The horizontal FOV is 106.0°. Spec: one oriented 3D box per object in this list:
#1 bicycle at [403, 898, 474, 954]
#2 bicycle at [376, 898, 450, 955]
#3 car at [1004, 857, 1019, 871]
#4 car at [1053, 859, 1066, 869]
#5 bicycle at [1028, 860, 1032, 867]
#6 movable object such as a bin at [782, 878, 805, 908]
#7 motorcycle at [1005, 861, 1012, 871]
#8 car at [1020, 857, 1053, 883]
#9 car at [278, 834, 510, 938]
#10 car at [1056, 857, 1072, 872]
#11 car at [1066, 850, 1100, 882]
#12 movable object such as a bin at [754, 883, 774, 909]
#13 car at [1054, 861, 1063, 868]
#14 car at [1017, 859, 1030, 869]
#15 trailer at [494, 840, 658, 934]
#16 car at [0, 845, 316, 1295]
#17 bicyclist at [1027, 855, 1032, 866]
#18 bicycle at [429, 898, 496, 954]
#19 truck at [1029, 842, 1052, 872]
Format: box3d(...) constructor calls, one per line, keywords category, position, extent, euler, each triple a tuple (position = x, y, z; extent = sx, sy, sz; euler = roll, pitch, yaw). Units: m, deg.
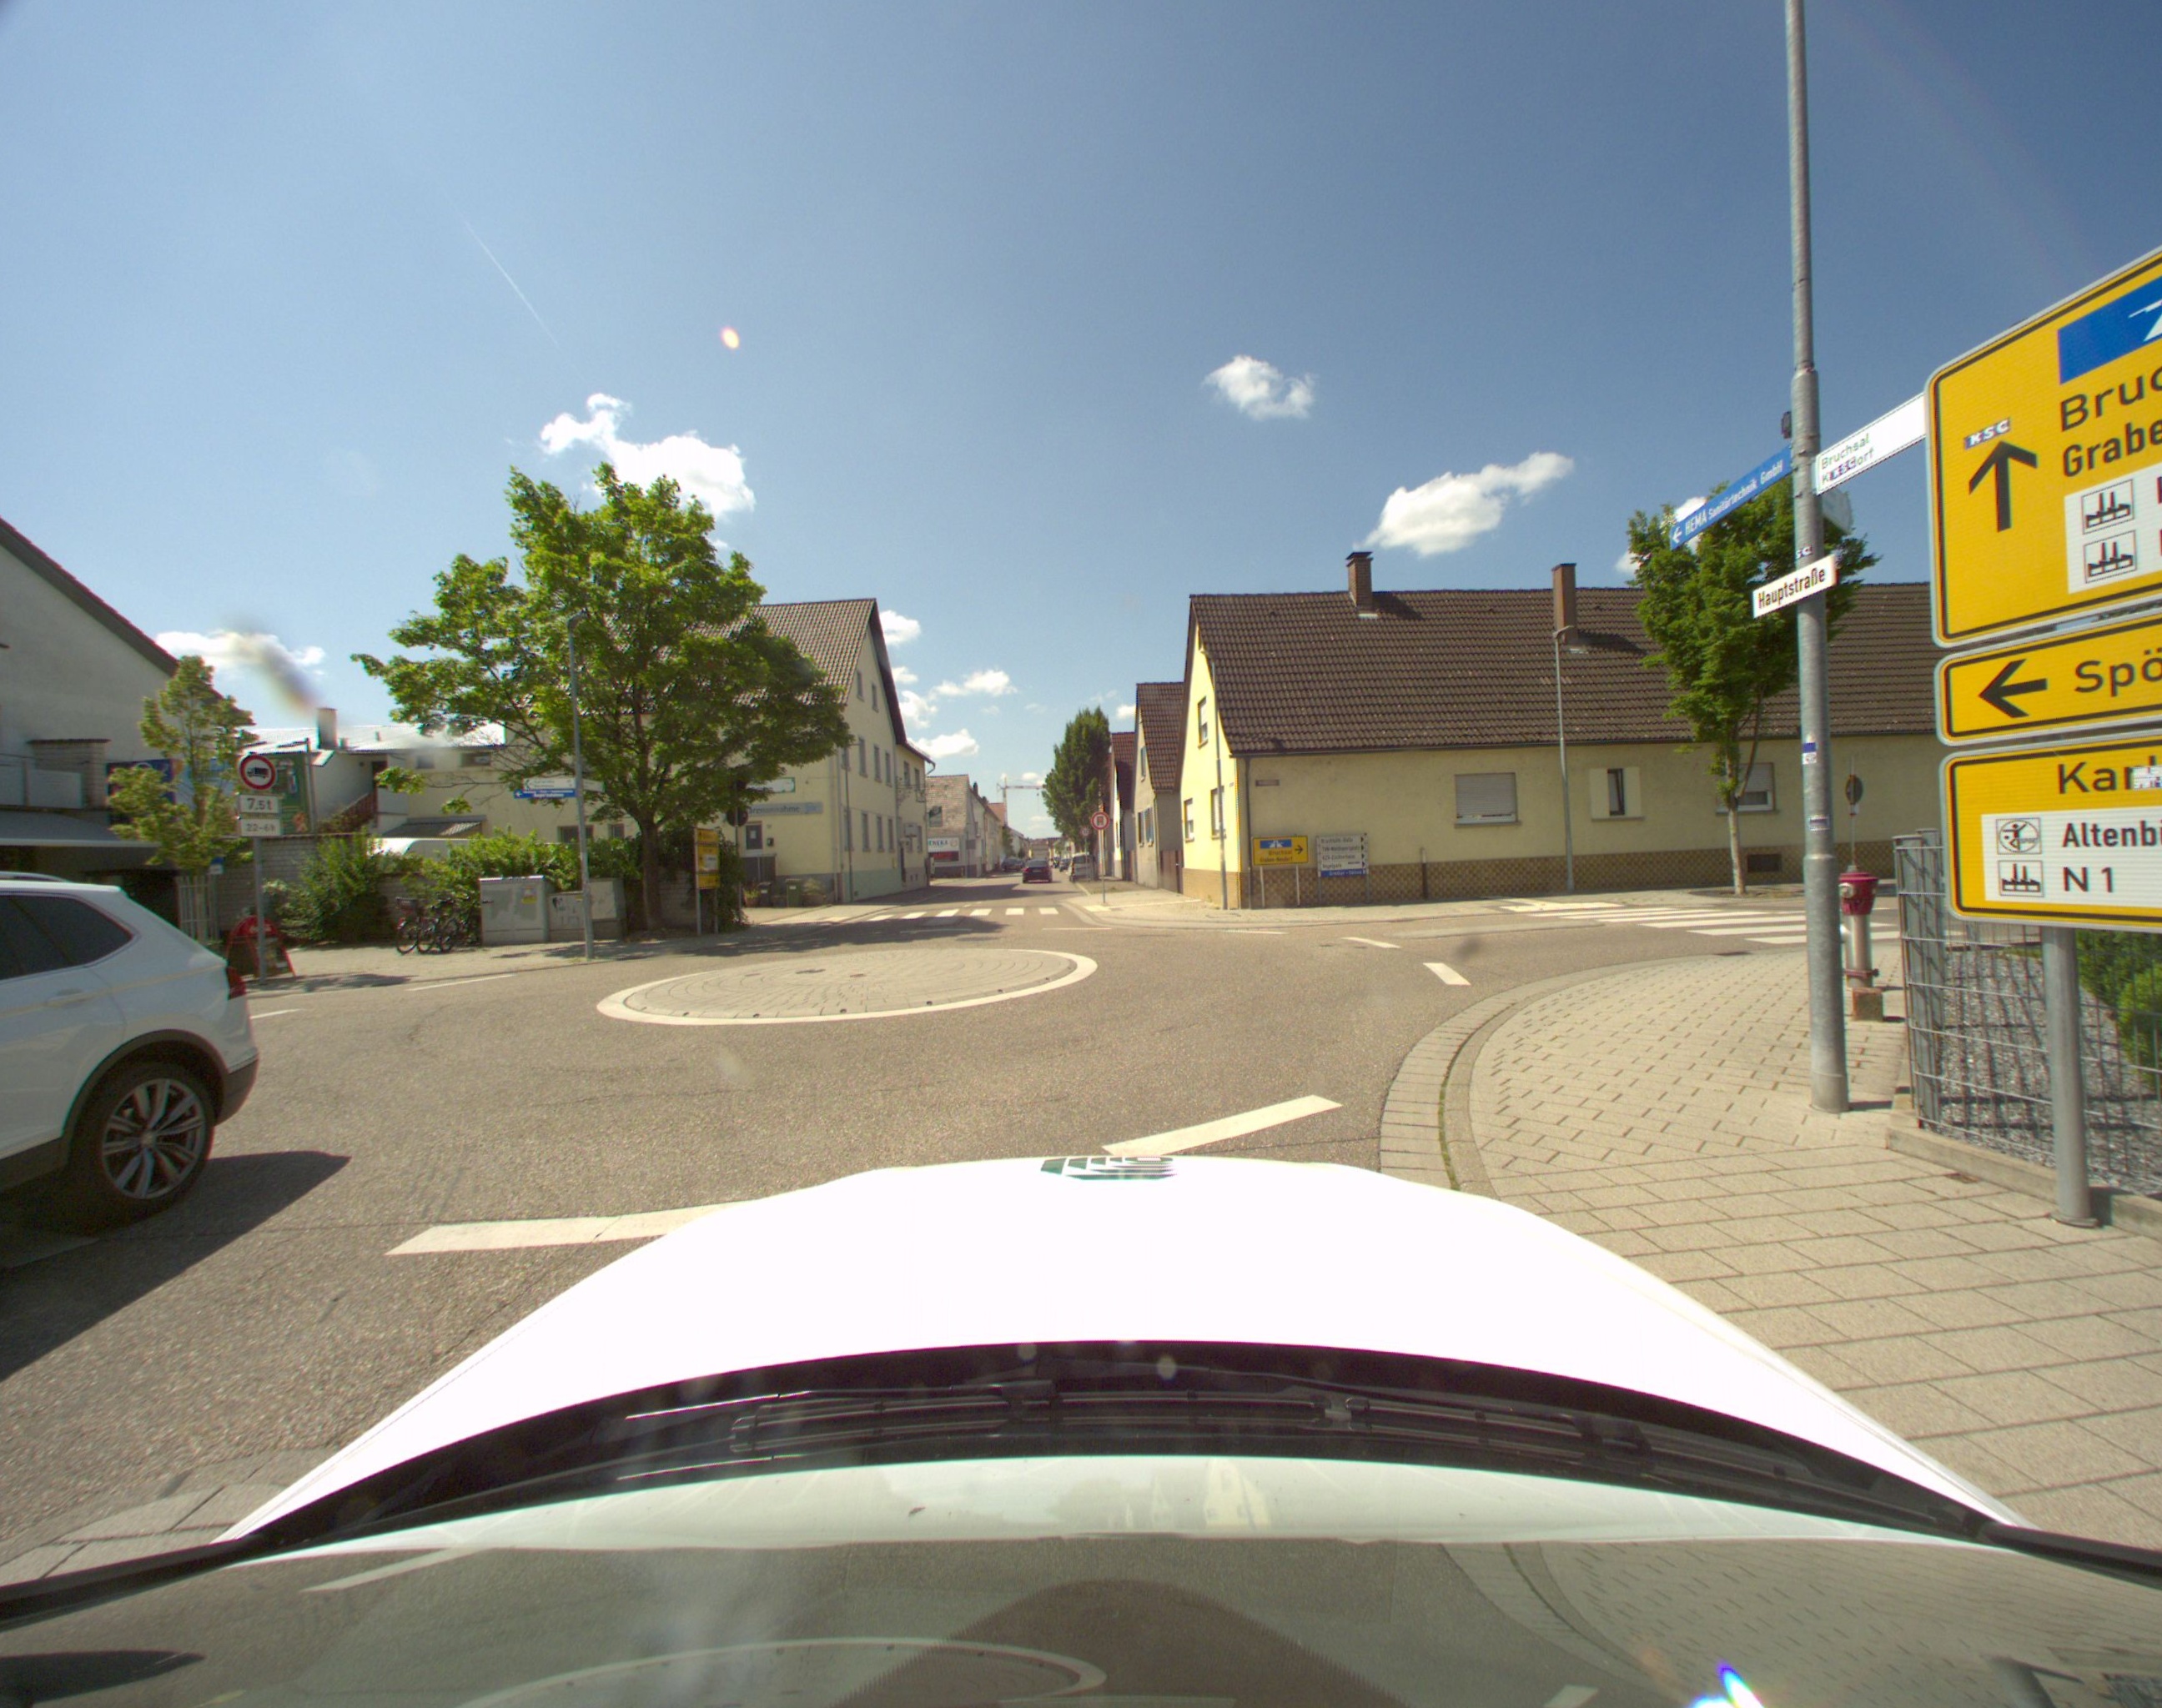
box3d(category="bicycle", position=(-14.013, 1.543, 17.810), extent=(0.400, 1.003, 1.973), euler=(-2, 2, -14))
box3d(category="bicycle", position=(-14.444, 1.547, 17.671), extent=(0.400, 1.003, 1.973), euler=(-2, 2, -14))
box3d(category="car", position=(-8.684, 1.255, 102.048), extent=(1.805, 1.589, 3.995), euler=(-2, 0, -3))
box3d(category="car", position=(-3.102, 1.373, 116.321), extent=(1.715, 1.355, 4.153), euler=(-2, 0, -2))
box3d(category="bicycle", position=(-9.837, 1.883, 156.013), extent=(0.749, 1.308, 2.682), euler=(-1, -1, -3))
box3d(category="movable object such as a bin", position=(-10.801, 1.449, 30.610), extent=(0.598, 1.078, 0.658), euler=(-3, 0, 0))
box3d(category="motorcycle", position=(-8.718, 1.426, 98.138), extent=(0.844, 1.170, 2.466), euler=(-1, -1, -4))
box3d(category="car", position=(-2.825, 0.985, 52.514), extent=(1.897, 1.563, 4.474), euler=(-2, 0, -1))
box3d(category="car", position=(-19.166, 0.799, 23.210), extent=(1.932, 2.567, 5.643), euler=(-1, 0, -2))
box3d(category="car", position=(-1.806, 1.110, 87.908), extent=(1.714, 1.461, 4.155), euler=(-2, 0, -1))
box3d(category="car", position=(0.074, 0.733, 51.378), extent=(1.716, 1.790, 4.137), euler=(-4, 0, -4))
box3d(category="movable object such as a bin", position=(-11.818, 1.555, 30.390), extent=(0.477, 0.928, 0.547), euler=(-3, 0, 0))
box3d(category="car", position=(-4.606, 2.187, 165.363), extent=(1.715, 1.269, 4.153), euler=(-2, 0, -2))
box3d(category="car", position=(-8.946, 1.550, 127.019), extent=(1.805, 1.589, 3.995), euler=(-2, 0, -3))
box3d(category="trailer", position=(-13.947, 0.838, 22.880), extent=(1.874, 2.335, 4.520), euler=(-1, 0, -2))
box3d(category="car", position=(-4.929, 0.879, 2.373), extent=(1.869, 1.709, 4.520), euler=(-4, 0, -14))
box3d(category="bicyclist", position=(-9.861, 1.172, 155.864), extent=(0.738, 2.059, 0.843), euler=(-1, -1, -3))
box3d(category="bicycle", position=(-13.571, 1.540, 17.920), extent=(0.400, 1.003, 1.973), euler=(-2, 2, -14))
box3d(category="truck", position=(-5.938, 0.534, 121.033), extent=(3.136, 4.250, 9.296), euler=(-1, -1, -1))
